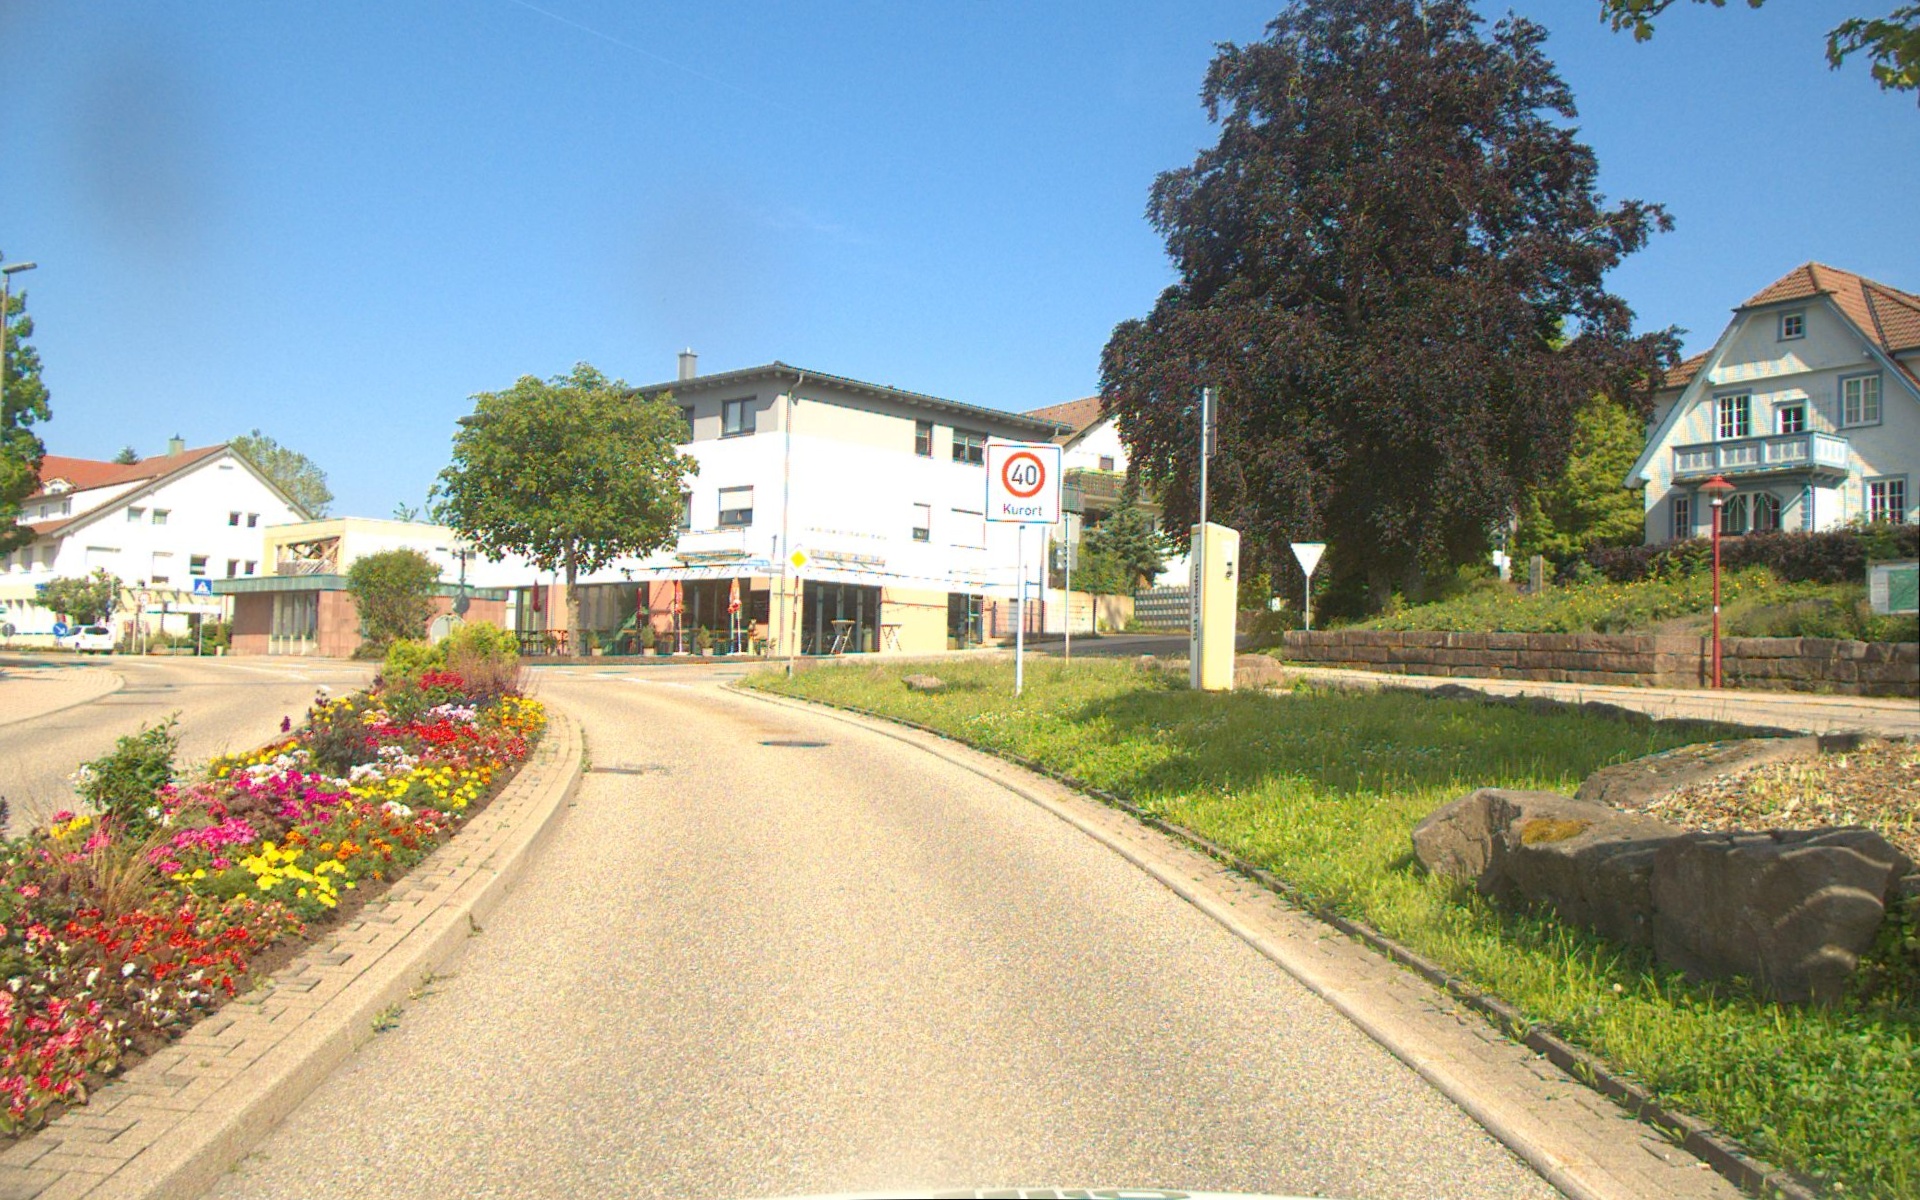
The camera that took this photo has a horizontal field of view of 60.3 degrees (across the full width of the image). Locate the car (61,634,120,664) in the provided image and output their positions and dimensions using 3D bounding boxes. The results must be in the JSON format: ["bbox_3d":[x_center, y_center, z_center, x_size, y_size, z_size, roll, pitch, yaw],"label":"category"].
[{"bbox_3d":[-43.955,2.486,83.557,1.752,1.448,3.575,0,-1,-43],"label":"car"}]
